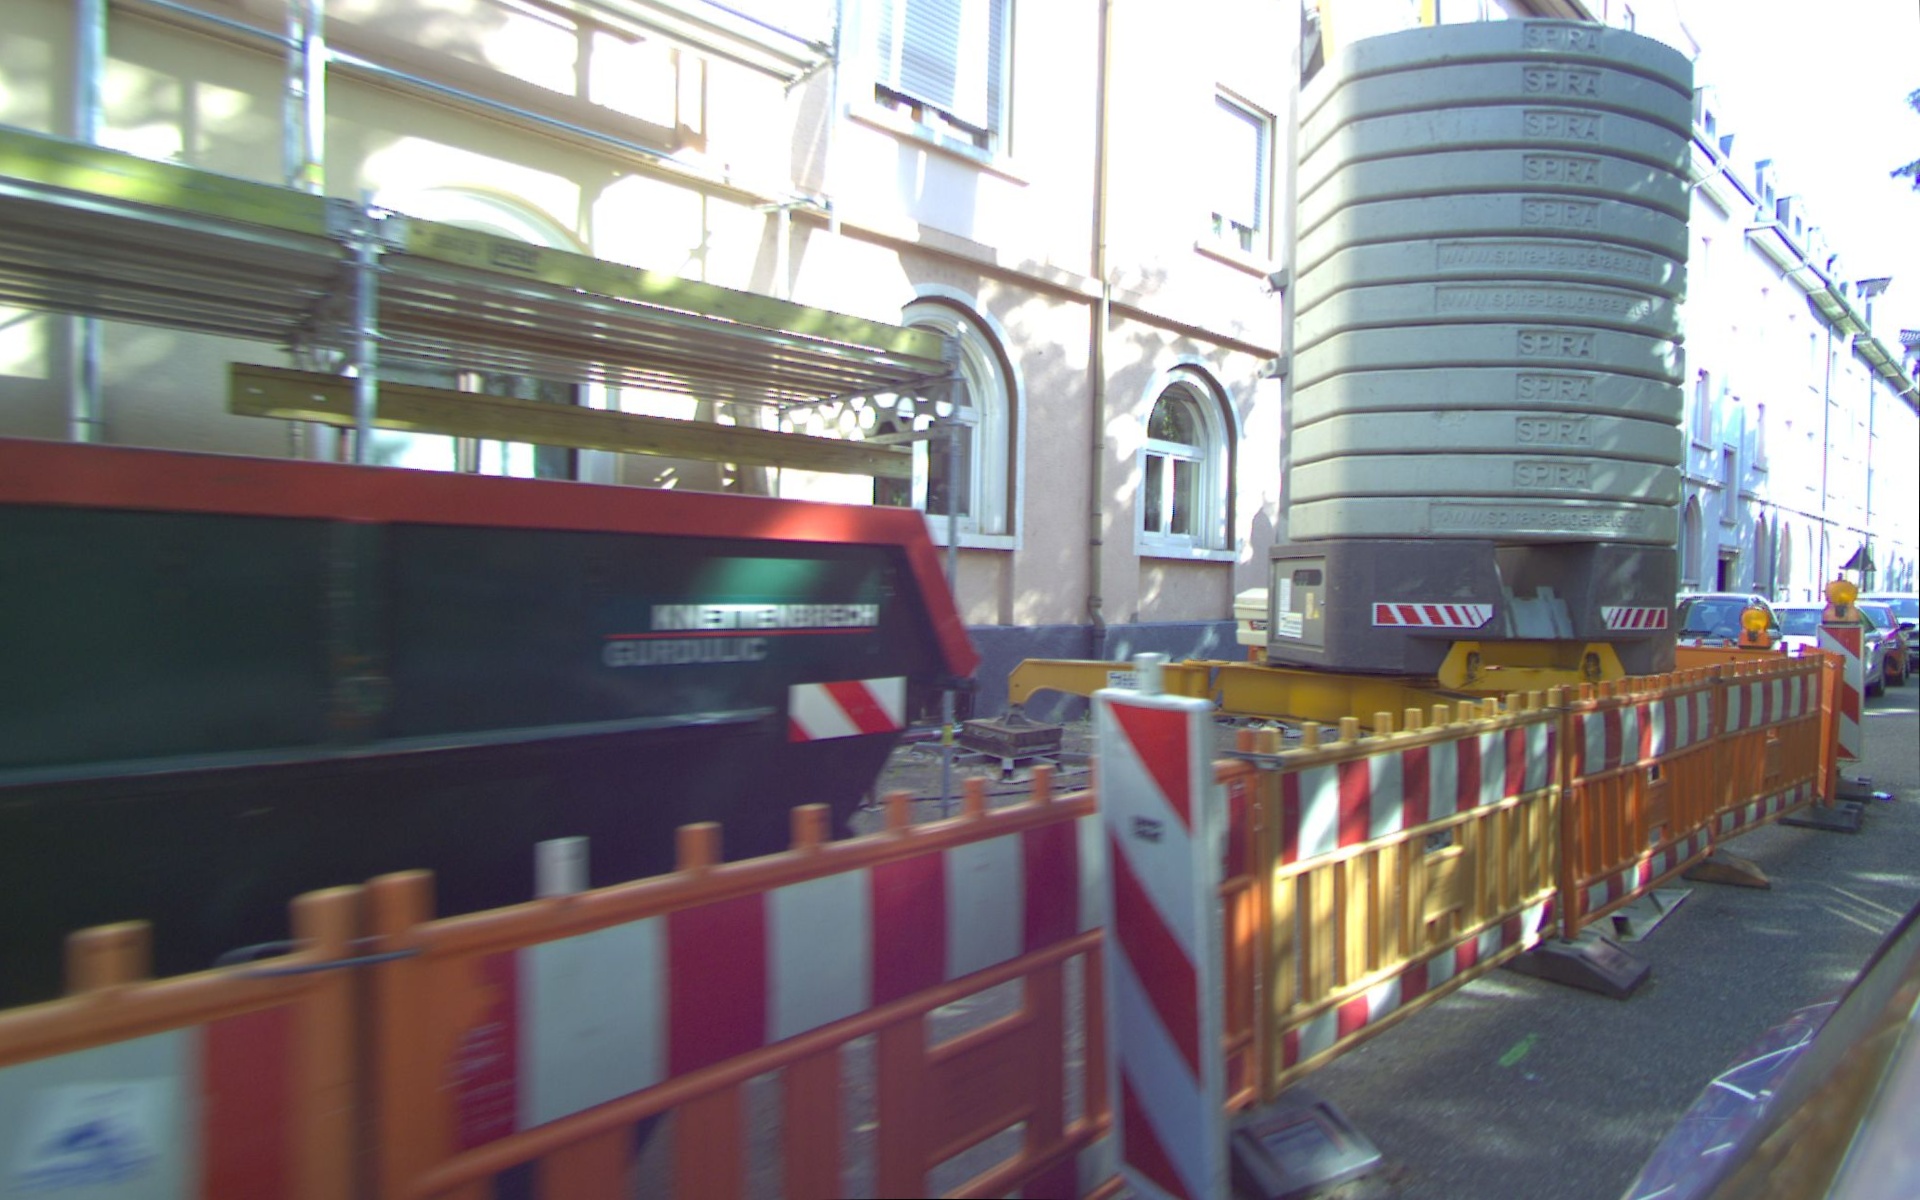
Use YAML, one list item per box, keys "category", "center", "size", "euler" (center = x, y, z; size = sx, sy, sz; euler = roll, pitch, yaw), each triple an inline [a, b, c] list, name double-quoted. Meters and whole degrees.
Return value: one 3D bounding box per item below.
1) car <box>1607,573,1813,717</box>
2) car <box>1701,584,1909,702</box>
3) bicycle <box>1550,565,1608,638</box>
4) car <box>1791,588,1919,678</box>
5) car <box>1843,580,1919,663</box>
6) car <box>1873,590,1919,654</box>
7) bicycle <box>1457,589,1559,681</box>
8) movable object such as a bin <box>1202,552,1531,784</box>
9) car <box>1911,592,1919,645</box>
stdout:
- category: "car"
  center: [9.461, 0.479, 12.710]
  size: [2.918, 1.577, 1.489]
  euler: [0, 2, -42]
- category: "car"
  center: [12.632, 0.535, 15.035]
  size: [4.171, 1.482, 1.764]
  euler: [0, 2, -42]
- category: "bicycle"
  center: [10.705, 0.022, 17.488]
  size: [1.504, 1.216, 0.426]
  euler: [0, 2, -42]
- category: "car"
  center: [16.776, 0.535, 18.793]
  size: [3.908, 1.445, 1.668]
  euler: [0, 2, -45]
- category: "car"
  center: [20.588, 0.425, 21.934]
  size: [4.200, 1.619, 1.669]
  euler: [0, 2, -42]
- category: "car"
  center: [24.640, 0.547, 25.765]
  size: [3.545, 1.531, 1.669]
  euler: [0, 2, -42]
- category: "bicycle"
  center: [8.325, 0.493, 15.323]
  size: [2.301, 1.298, 0.541]
  euler: [0, 1, -40]
- category: "movable object such as a bin"
  center: [2.972, 0.437, 7.751]
  size: [1.595, 1.545, 1.880]
  euler: [1, 1, -6]
- category: "car"
  center: [28.266, 0.524, 28.706]
  size: [3.545, 1.454, 1.576]
  euler: [0, 2, -42]
